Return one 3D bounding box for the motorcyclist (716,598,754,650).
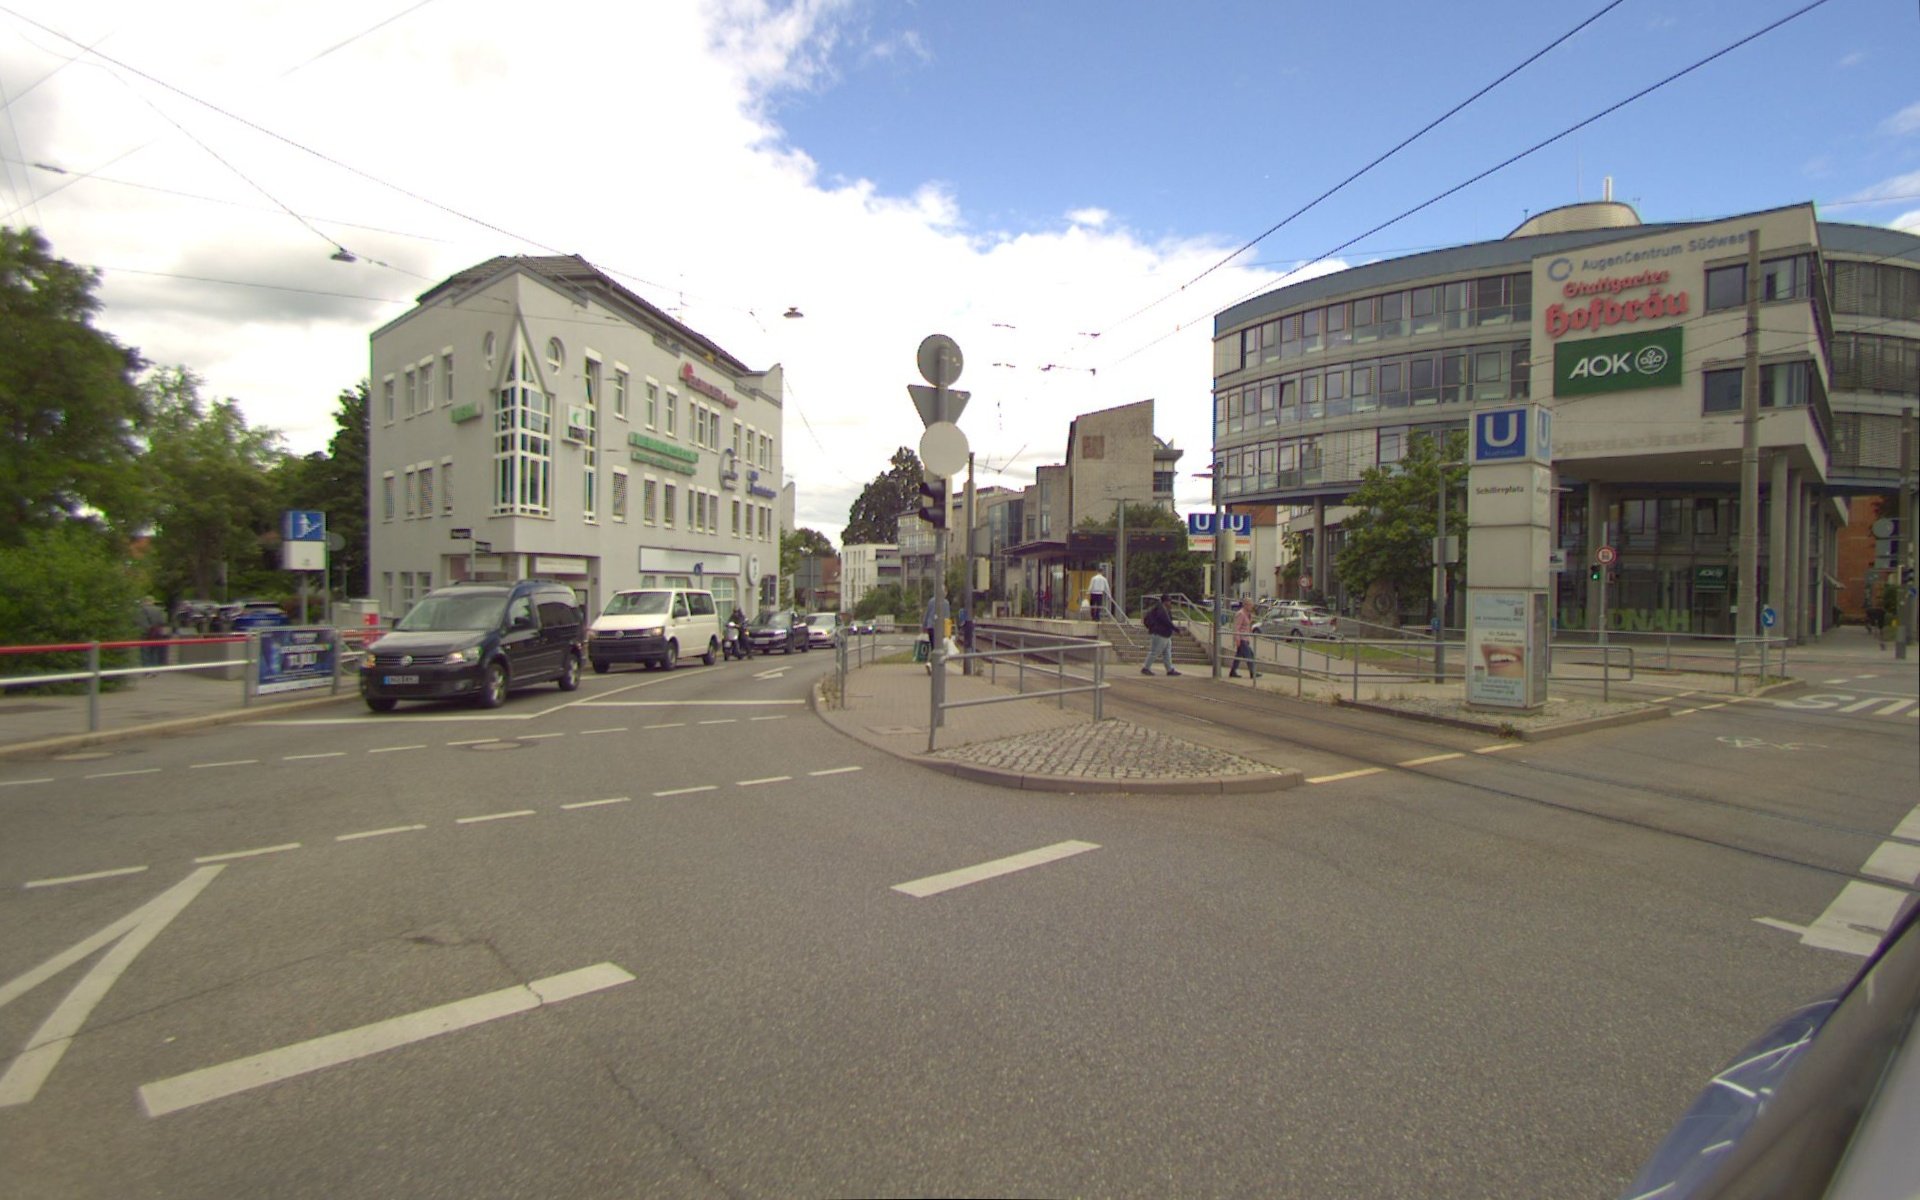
[{"bbox_3d":[-6.702,0.711,30.157,0.874,1.494,0.804,1,0,10],"label":"motorcyclist"}]

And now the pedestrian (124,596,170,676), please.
[{"bbox_3d":[-17.374,0.750,21.627,0.590,1.655,0.679,1,0,42],"label":"pedestrian"}]

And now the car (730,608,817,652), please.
[{"bbox_3d":[-6.570,1.036,36.252,1.847,1.465,4.776,0,-1,5],"label":"car"}]

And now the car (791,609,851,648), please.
[{"bbox_3d":[-5.827,1.158,42.939,1.845,1.457,4.749,0,1,1],"label":"car"}]

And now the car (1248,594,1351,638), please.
[{"bbox_3d":[14.179,0.634,42.528,1.958,1.732,4.327,0,0,-16],"label":"car"}]

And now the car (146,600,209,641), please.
[{"bbox_3d":[-37.513,0.934,48.480,4.217,1.826,1.851,0,0,44],"label":"car"}]

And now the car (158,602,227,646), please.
[{"bbox_3d":[-34.122,1.018,44.973,4.217,1.826,1.851,0,0,44],"label":"car"}]

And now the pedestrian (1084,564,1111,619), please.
[{"bbox_3d":[4.511,-0.277,33.166,0.681,1.766,0.616,-1,-2,-10],"label":"pedestrian"}]

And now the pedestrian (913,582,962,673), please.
[{"bbox_3d":[-0.406,0.502,19.002,0.871,1.668,0.806,1,0,1],"label":"pedestrian"}]

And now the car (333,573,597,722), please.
[{"bbox_3d":[-7.300,0.590,15.596,1.844,1.919,4.930,0,0,-2],"label":"car"}]

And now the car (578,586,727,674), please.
[{"bbox_3d":[-7.330,0.634,24.690,1.847,1.919,4.922,0,0,4],"label":"car"}]

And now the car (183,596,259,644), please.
[{"bbox_3d":[-30.152,0.764,41.241,4.217,1.826,1.851,0,0,44],"label":"car"}]

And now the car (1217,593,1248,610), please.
[{"bbox_3d":[28.520,0.182,106.130,1.962,1.732,4.319,0,0,-1],"label":"car"}]

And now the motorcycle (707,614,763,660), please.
[{"bbox_3d":[-6.696,1.075,30.206,0.872,1.244,2.149,1,1,10],"label":"motorcycle"}]

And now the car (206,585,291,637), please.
[{"bbox_3d":[-26.559,0.364,37.722,4.217,1.826,1.851,0,0,44],"label":"car"}]

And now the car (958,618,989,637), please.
[{"bbox_3d":[1.286,2.678,99.373,1.958,1.732,4.327,0,0,-16],"label":"car"}]

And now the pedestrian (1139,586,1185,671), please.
[{"bbox_3d":[4.048,0.577,20.303,0.832,1.656,0.643,-2,-2,10],"label":"pedestrian"}]

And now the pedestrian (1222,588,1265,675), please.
[{"bbox_3d":[5.512,0.604,19.653,0.577,1.656,0.525,0,-3,-40],"label":"pedestrian"}]

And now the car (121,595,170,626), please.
[{"bbox_3d":[-49.812,0.626,61.880,4.217,1.826,1.851,0,0,44],"label":"car"}]
